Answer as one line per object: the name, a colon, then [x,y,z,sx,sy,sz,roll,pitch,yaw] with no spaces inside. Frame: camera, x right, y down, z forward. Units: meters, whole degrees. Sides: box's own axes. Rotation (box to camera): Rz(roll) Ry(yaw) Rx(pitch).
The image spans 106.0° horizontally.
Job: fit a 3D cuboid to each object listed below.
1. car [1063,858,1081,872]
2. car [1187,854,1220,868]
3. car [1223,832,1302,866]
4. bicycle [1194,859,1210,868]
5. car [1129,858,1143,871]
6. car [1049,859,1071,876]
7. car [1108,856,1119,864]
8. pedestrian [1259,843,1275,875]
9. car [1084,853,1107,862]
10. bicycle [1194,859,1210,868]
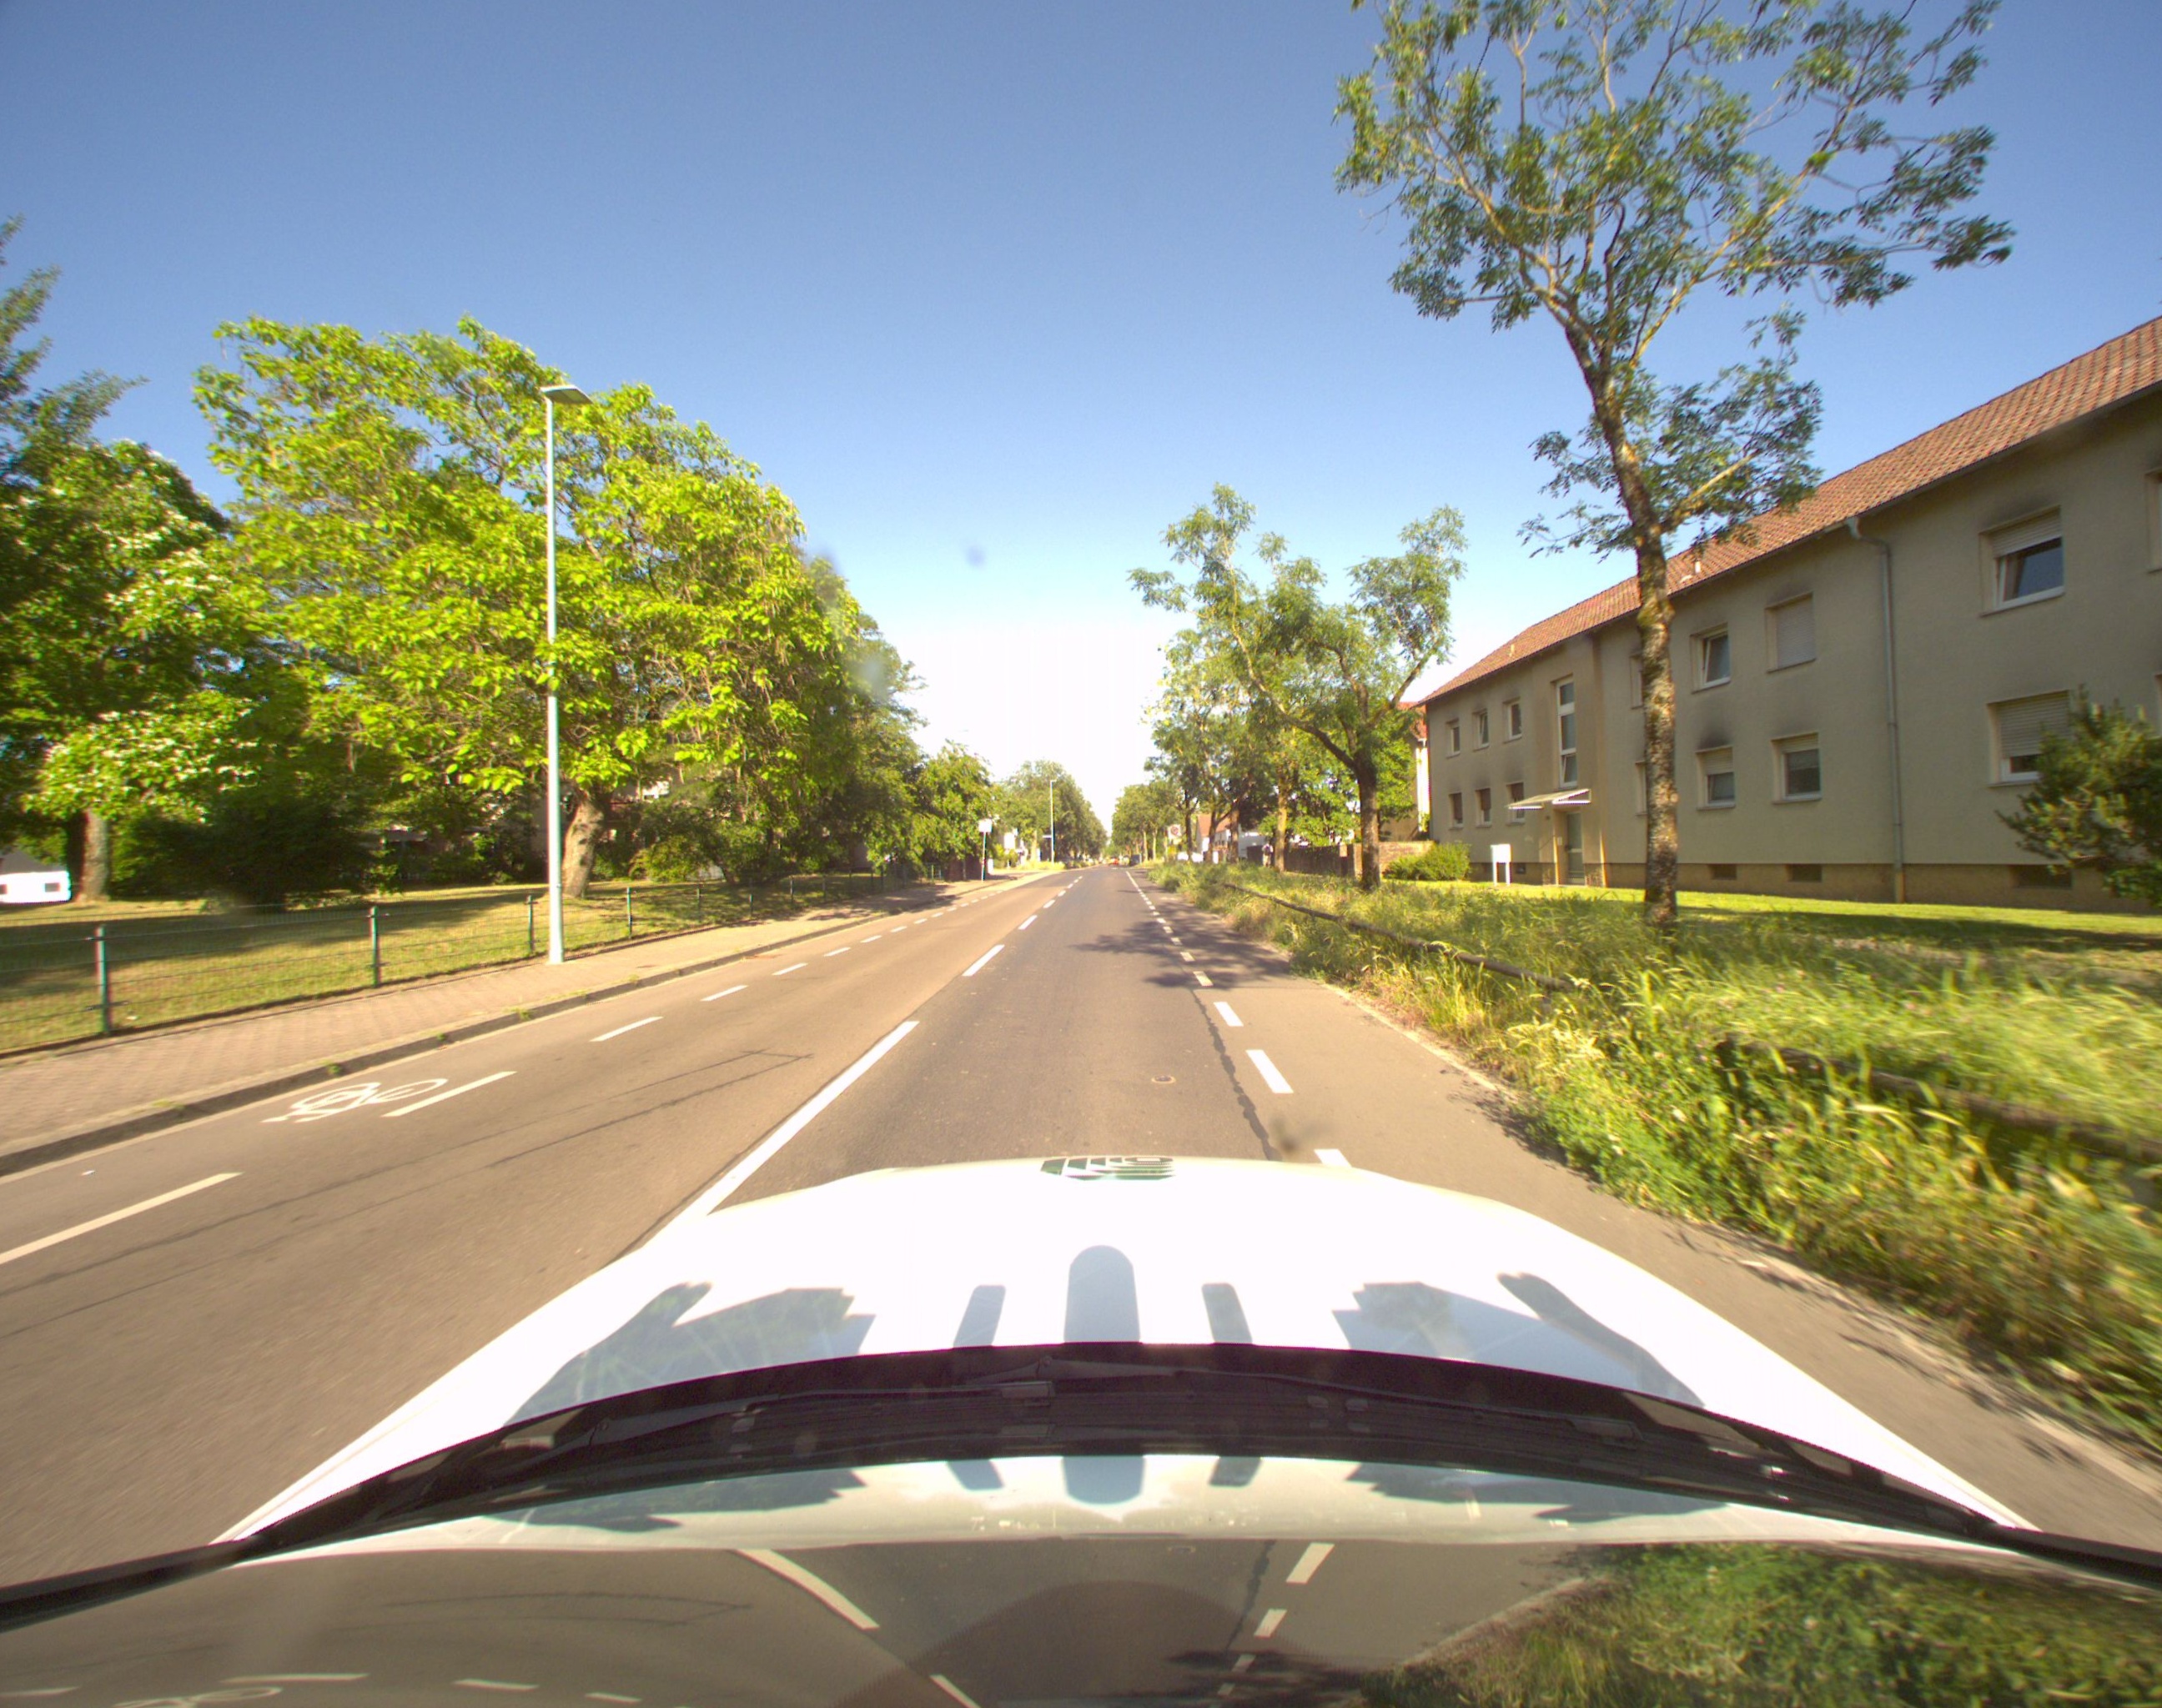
car: [-1.118,1.334,99.768,1.931,1.609,4.386,0,-2,3]
car: [16.073,0.917,106.836,3.973,1.489,1.902,-3,0,0]
car: [14.184,-0.380,63.893,5.578,2.539,2.265,-2,0,-1]
bicycle: [15.383,1.252,103.643,1.951,0.998,0.576,-3,0,0]
car: [7.784,1.506,115.271,1.846,1.626,4.471,-3,-2,2]
car: [-2.201,1.473,87.994,1.945,1.727,4.878,0,-2,3]
car: [5.751,1.078,144.639,1.882,1.479,3.887,1,-1,0]
pedestrian: [10.283,0.252,45.032,0.634,1.705,0.612,-4,0,1]
car: [3.454,0.804,197.562,5.480,2.247,2.517,0,0,0]
bicycle: [15.553,1.233,104.630,1.917,0.998,0.576,-3,0,0]
